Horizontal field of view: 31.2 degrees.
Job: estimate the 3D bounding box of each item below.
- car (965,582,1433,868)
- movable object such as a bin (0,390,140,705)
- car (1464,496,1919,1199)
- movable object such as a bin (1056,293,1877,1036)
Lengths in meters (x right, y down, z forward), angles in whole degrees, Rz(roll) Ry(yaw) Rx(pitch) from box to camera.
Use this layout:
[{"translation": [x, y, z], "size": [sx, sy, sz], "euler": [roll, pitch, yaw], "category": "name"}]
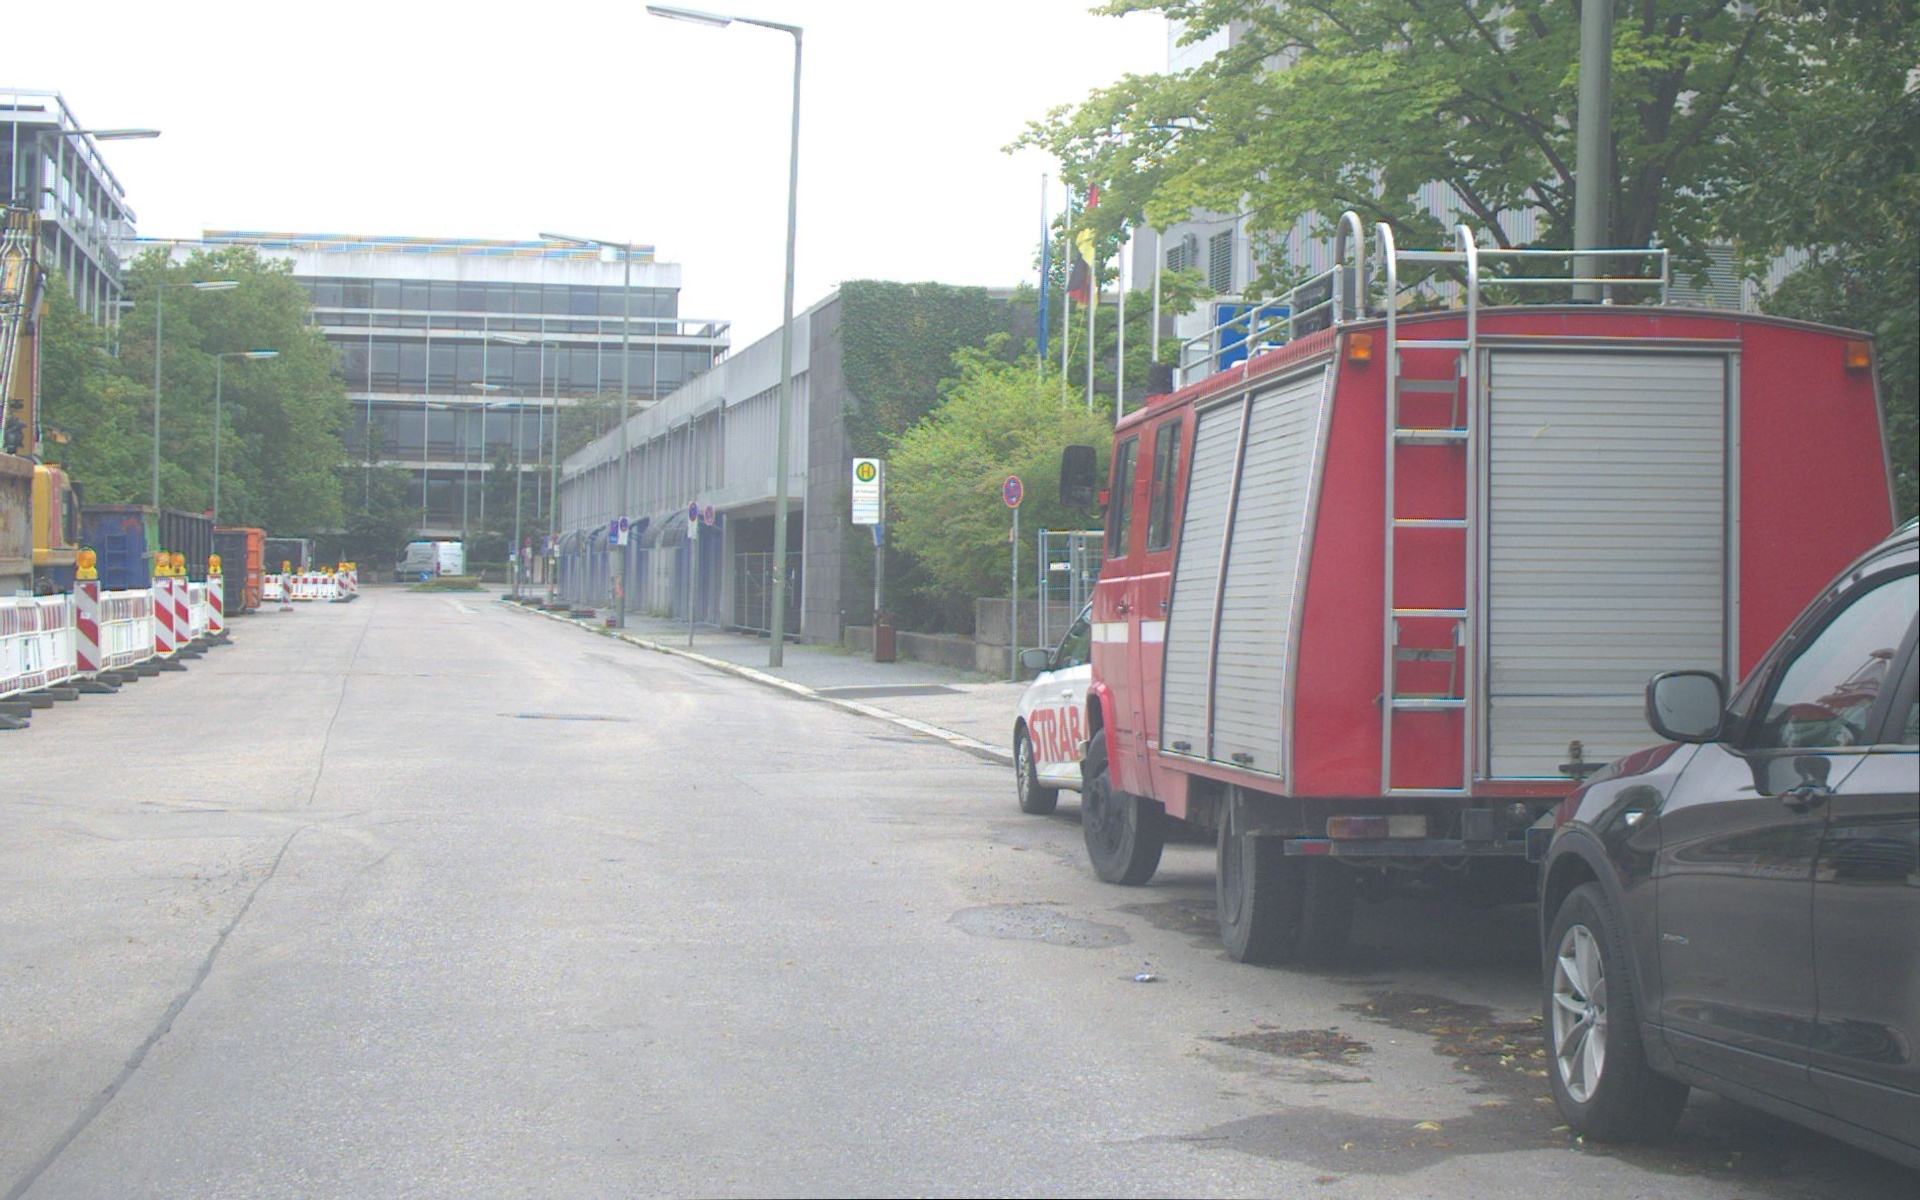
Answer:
[{"translation": [1.342, 0.691, 21.177], "size": [1.775, 1.544, 4.258], "euler": [1, 0, -11], "category": "car"}, {"translation": [-12.822, -0.721, 44.866], "size": [3.240, 3.704, 9.010], "euler": [1, 1, -8], "category": "movable object such as a bin"}, {"translation": [2.596, 0.626, 7.624], "size": [1.775, 1.644, 4.461], "euler": [1, 0, -7], "category": "car"}, {"translation": [1.786, 0.194, 14.571], "size": [2.104, 2.450, 6.188], "euler": [1, 0, -4], "category": "movable object such as a bin"}]
